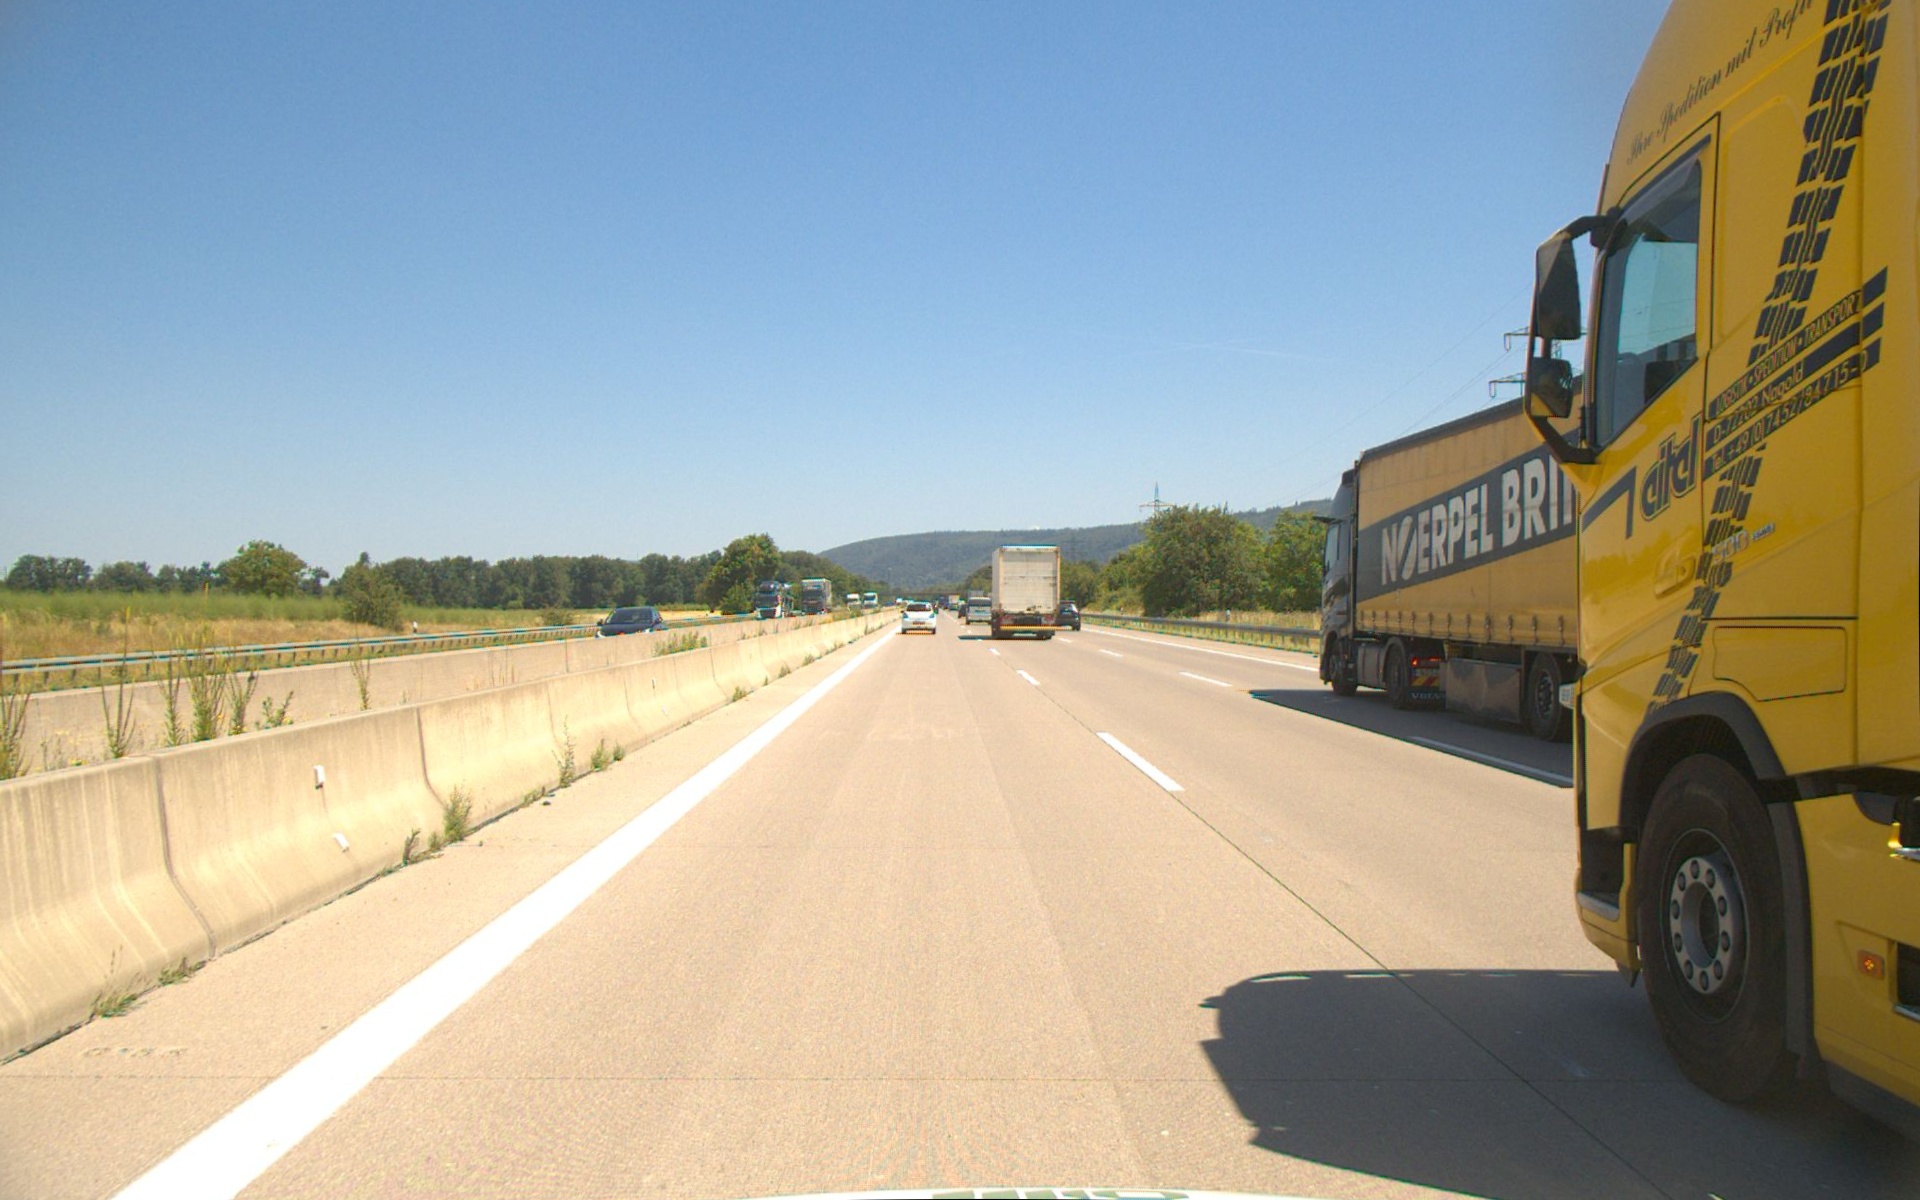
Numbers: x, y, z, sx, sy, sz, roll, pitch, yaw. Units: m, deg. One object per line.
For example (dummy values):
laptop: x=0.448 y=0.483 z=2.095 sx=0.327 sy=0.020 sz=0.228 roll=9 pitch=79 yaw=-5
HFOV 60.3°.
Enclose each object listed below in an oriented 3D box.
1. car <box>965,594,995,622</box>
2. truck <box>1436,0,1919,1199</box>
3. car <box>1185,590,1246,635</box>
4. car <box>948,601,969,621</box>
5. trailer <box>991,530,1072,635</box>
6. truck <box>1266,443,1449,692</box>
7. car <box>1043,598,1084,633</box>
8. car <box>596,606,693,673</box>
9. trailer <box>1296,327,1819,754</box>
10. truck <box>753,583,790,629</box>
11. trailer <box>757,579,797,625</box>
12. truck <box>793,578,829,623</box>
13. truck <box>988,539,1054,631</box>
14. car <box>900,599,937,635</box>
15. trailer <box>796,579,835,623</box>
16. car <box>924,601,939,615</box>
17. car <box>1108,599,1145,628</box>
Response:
car: x=1.406 y=0.584 z=117.569 sx=1.953 sy=1.881 sz=3.999 roll=1 pitch=0 yaw=-2
truck: x=3.218 y=-0.680 z=4.875 sx=1.953 sy=4.329 sz=5.192 roll=1 pitch=0 yaw=-2
car: x=11.470 y=0.550 z=74.524 sx=1.953 sy=1.881 sz=3.999 roll=3 pitch=0 yaw=-2
car: x=-0.192 y=1.113 z=167.207 sx=1.953 sy=1.881 sz=3.998 roll=3 pitch=0 yaw=-2
trailer: x=2.838 y=-0.646 z=68.390 sx=2.529 sy=3.945 sz=10.369 roll=1 pitch=0 yaw=-2
truck: x=7.385 y=-0.544 z=31.398 sx=1.953 sy=4.266 sz=5.704 roll=1 pitch=0 yaw=-1
car: x=5.998 y=0.894 z=96.191 sx=1.953 sy=1.881 sz=3.999 roll=3 pitch=0 yaw=-2
car: x=-9.495 y=1.138 z=50.176 sx=1.953 sy=1.895 sz=5.465 roll=1 pitch=0 yaw=-1
trailer: x=7.519 y=-0.572 z=24.012 sx=1.953 sy=4.266 sz=14.742 roll=1 pitch=0 yaw=-1
truck: x=-19.461 y=0.623 z=171.021 sx=3.166 sy=4.687 sz=6.249 roll=1 pitch=0 yaw=-1
trailer: x=-19.609 y=0.256 z=177.988 sx=3.166 sy=4.687 sz=12.290 roll=1 pitch=0 yaw=-1
truck: x=-15.570 y=0.062 z=173.598 sx=3.201 sy=4.554 sz=7.187 roll=-1 pitch=0 yaw=-1
truck: x=2.684 y=-0.644 z=73.749 sx=2.529 sy=3.945 sz=4.982 roll=1 pitch=0 yaw=-2
car: x=-2.051 y=0.825 z=80.787 sx=1.783 sy=1.691 sz=3.998 roll=0 pitch=0 yaw=-2
trailer: x=-15.709 y=0.090 z=180.545 sx=3.201 sy=4.554 sz=14.447 roll=-1 pitch=0 yaw=-1
car: x=-3.970 y=1.130 z=227.113 sx=1.953 sy=1.881 sz=3.999 roll=3 pitch=0 yaw=-2
car: x=11.481 y=0.948 z=114.364 sx=1.953 sy=1.881 sz=3.999 roll=3 pitch=0 yaw=-2
